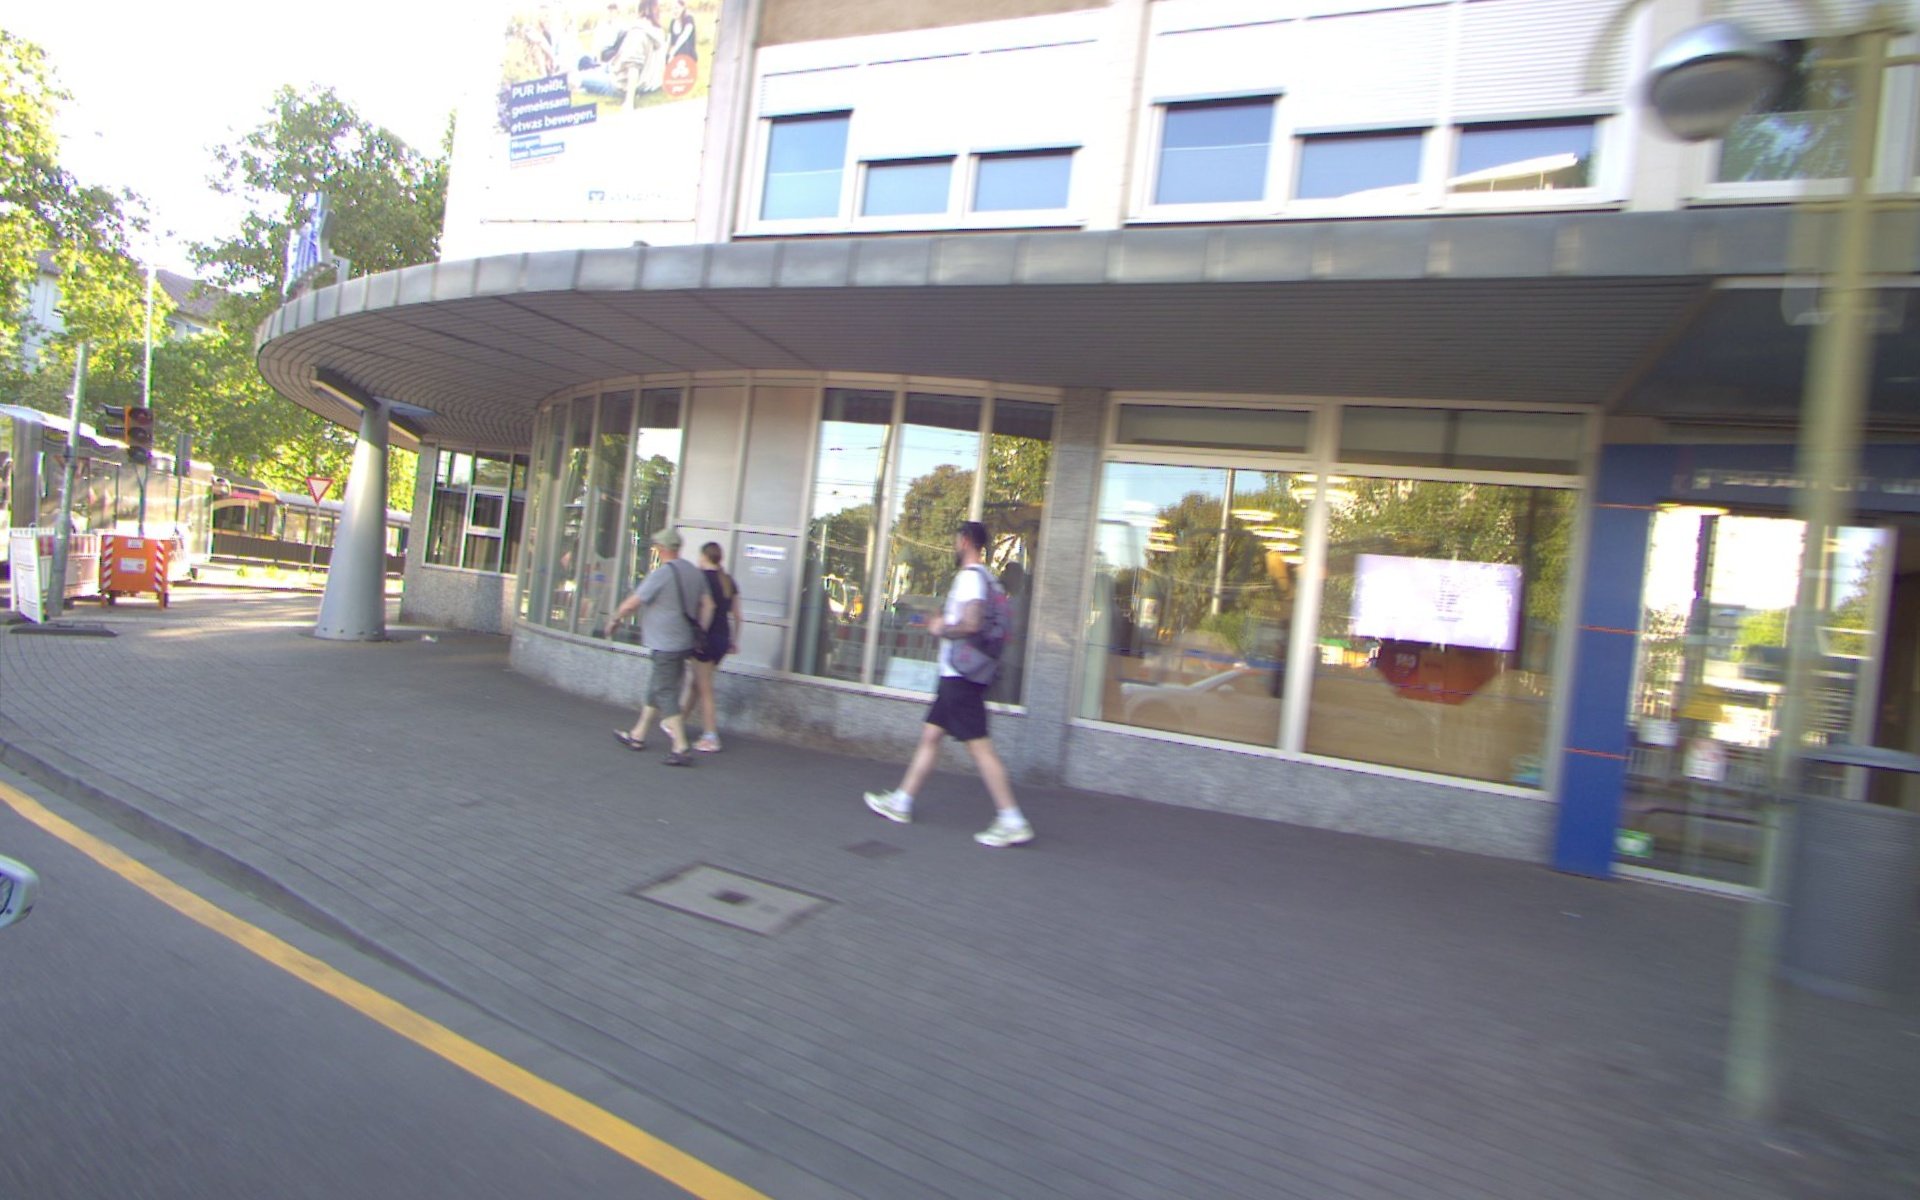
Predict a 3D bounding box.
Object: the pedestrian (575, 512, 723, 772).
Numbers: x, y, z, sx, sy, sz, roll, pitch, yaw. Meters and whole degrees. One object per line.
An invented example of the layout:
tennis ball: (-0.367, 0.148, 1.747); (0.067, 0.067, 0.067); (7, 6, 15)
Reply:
pedestrian: (-2.236, 0.288, 7.251); (0.667, 1.731, 0.584); (7, 3, 21)

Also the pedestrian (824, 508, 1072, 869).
pedestrian: (-0.058, 0.468, 6.051); (1.079, 1.896, 0.839); (7, 5, 21)

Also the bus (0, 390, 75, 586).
bus: (-16.690, -1.912, 15.523); (2.715, 3.177, 10.608); (7, 0, -33)

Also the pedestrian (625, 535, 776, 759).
pedestrian: (-2.021, 0.347, 7.865); (0.760, 1.595, 0.634); (8, 3, 21)

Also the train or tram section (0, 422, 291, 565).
train or tram section: (-30.257, -3.698, 34.643); (2.599, 3.560, 13.344); (7, -1, 15)

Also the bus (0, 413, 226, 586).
bus: (-20.055, -2.160, 22.986); (2.680, 3.145, 8.937); (7, 0, -20)
